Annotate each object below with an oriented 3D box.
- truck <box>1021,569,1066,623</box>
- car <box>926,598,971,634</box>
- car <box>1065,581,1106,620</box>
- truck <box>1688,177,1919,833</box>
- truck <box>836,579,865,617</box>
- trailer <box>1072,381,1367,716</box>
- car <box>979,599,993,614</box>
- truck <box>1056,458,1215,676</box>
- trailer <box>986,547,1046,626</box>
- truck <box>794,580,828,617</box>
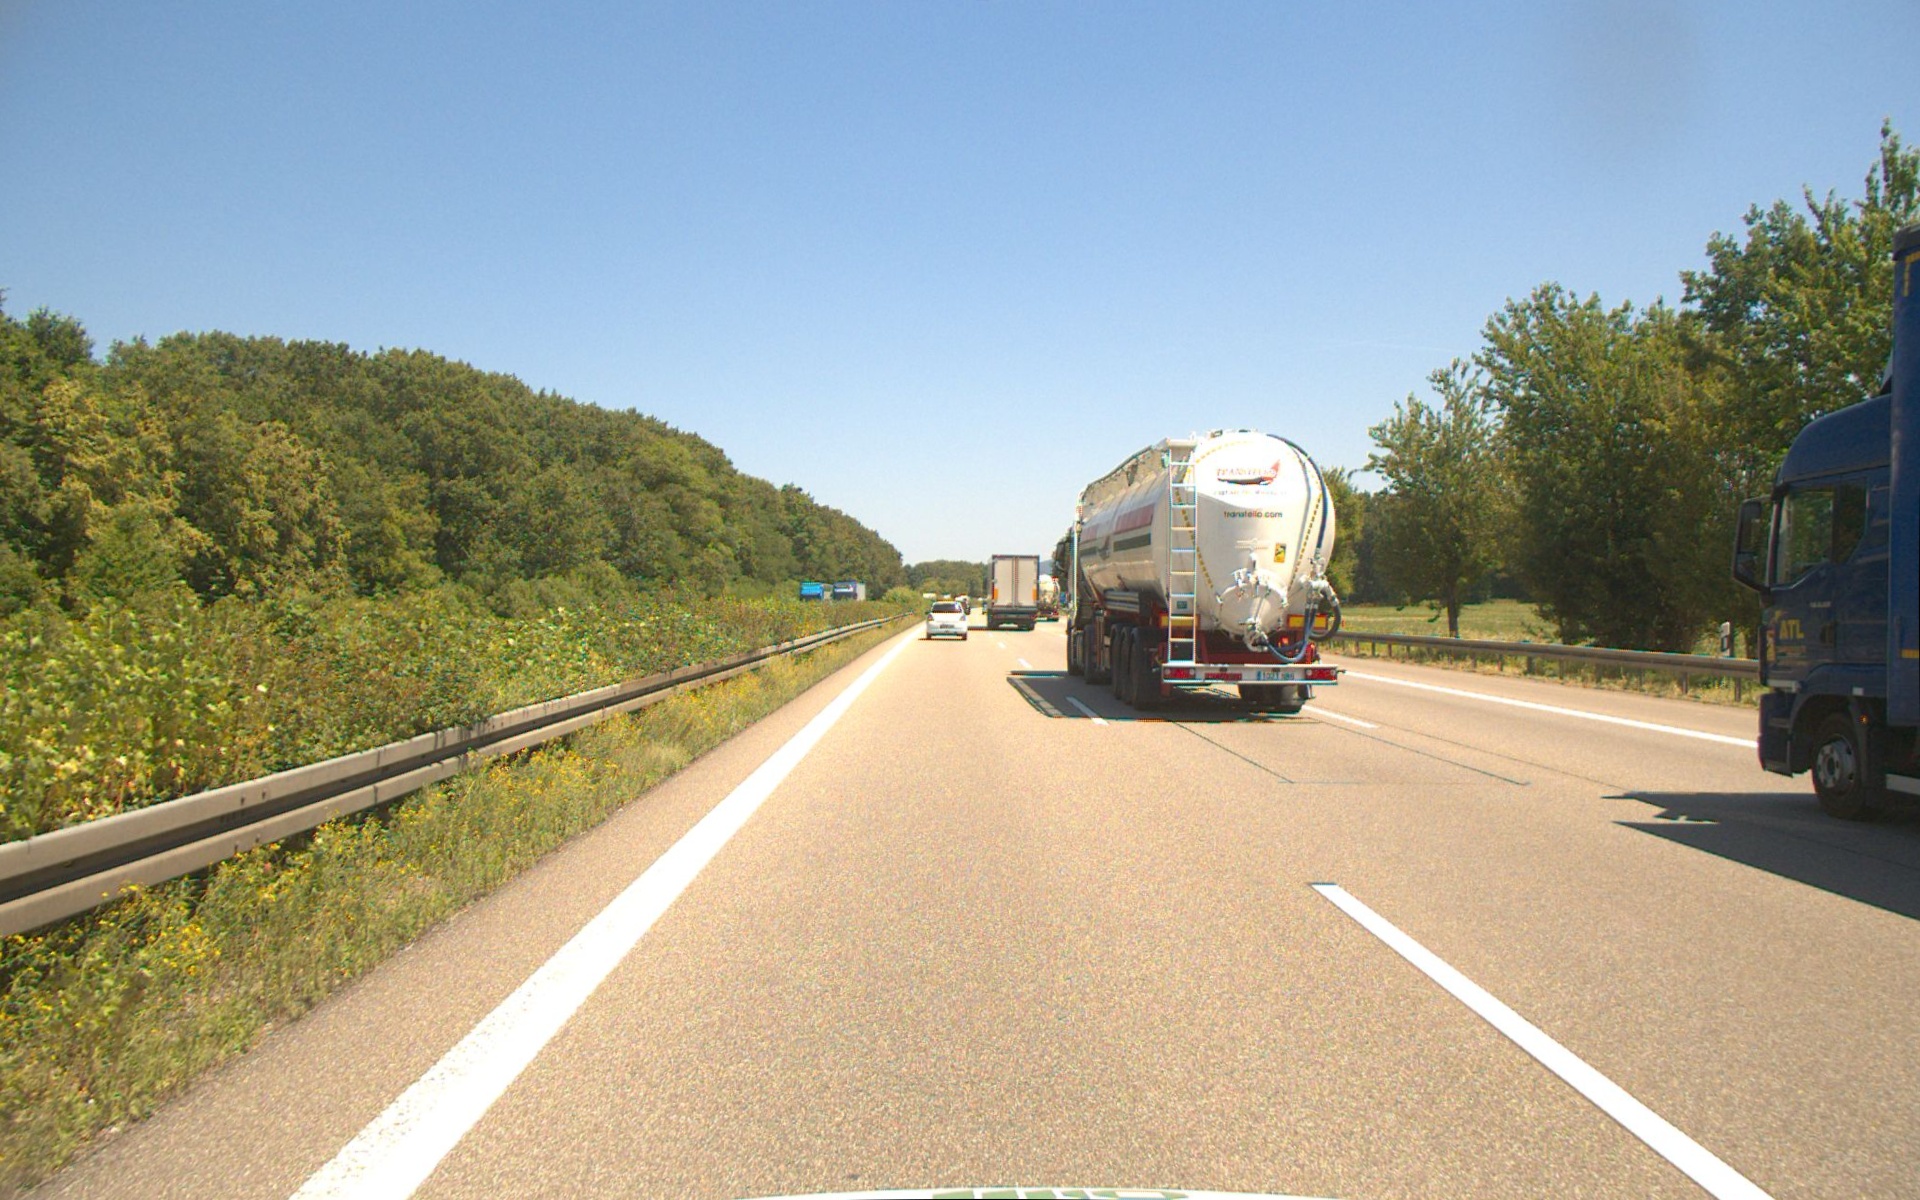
[{"bbox_3d":[7.097,-0.317,141.984,3.158,4.421,10.804,0,0,-1],"label":"truck"},{"bbox_3d":[-0.477,0.623,67.141,1.775,1.429,3.316,0,0,-2],"label":"car"},{"bbox_3d":[6.817,0.019,90.486,1.818,2.038,5.522,1,0,0],"label":"car"},{"bbox_3d":[7.671,-0.624,8.726,2.733,4.278,10.804,0,0,-1],"label":"truck"},{"bbox_3d":[-12.049,-0.225,182.455,2.811,4.080,5.000,0,0,0],"label":"truck"},{"bbox_3d":[3.740,-0.665,27.350,2.733,4.278,12.350,0,0,-1],"label":"trailer"},{"bbox_3d":[3.260,0.812,205.363,1.634,1.796,4.000,0,0,0],"label":"car"},{"bbox_3d":[3.612,-0.657,35.172,2.733,4.278,4.999,0,0,-1],"label":"truck"},{"bbox_3d":[3.240,-0.723,94.603,3.156,4.216,12.355,0,0,2],"label":"trailer"},{"bbox_3d":[-17.033,-0.183,190.182,2.951,4.186,10.000,0,0,0],"label":"truck"}]
